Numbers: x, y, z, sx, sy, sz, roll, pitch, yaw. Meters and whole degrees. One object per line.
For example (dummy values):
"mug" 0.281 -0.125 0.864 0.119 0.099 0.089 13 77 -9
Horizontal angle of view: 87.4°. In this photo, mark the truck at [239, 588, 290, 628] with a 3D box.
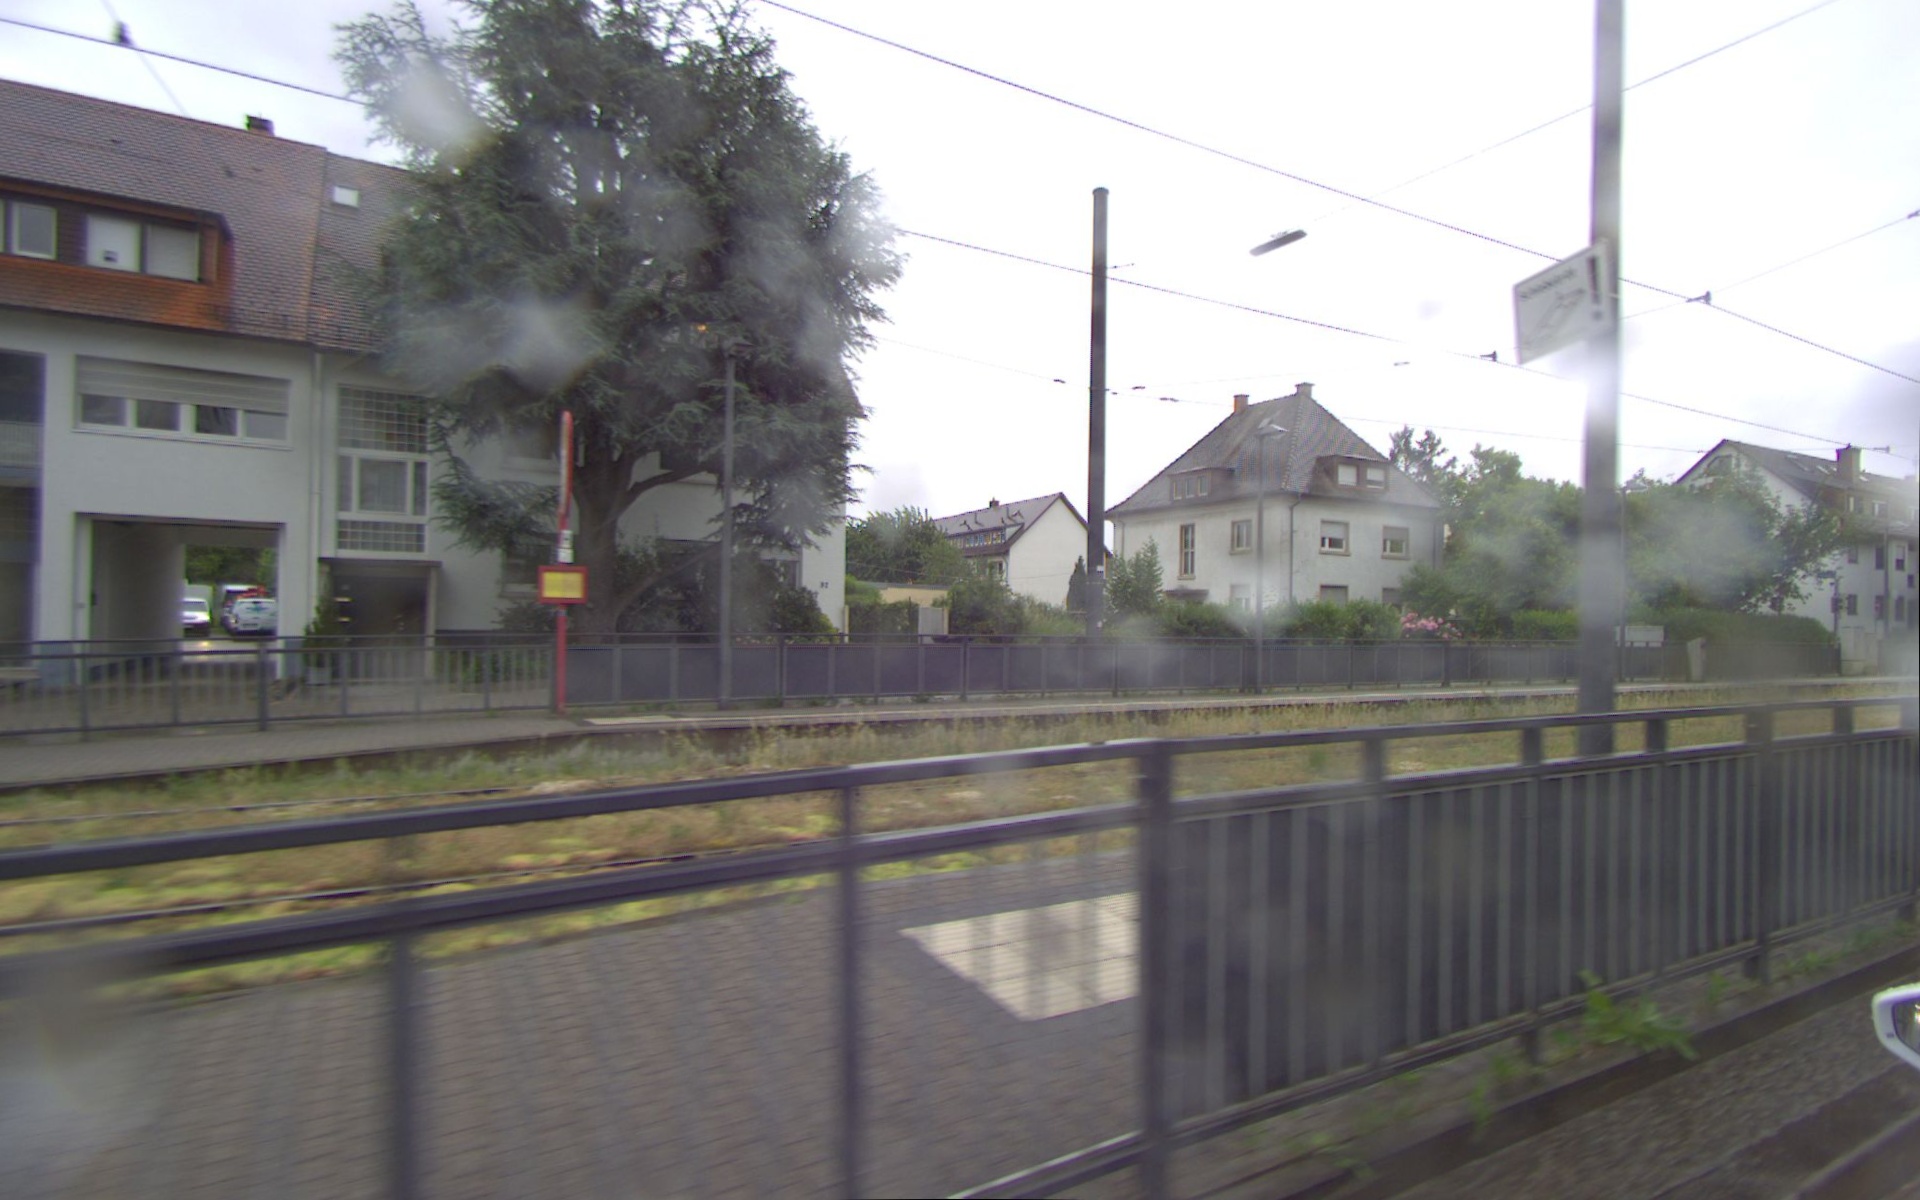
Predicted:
"truck" -38.465 0.416 55.656 1.978 2.040 5.779 2 0 -32

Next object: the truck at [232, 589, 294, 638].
"truck" -31.985 0.588 46.225 1.978 2.040 5.779 2 0 -32

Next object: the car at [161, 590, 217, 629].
"car" -36.854 0.450 48.033 1.983 1.693 3.956 2 0 -38
